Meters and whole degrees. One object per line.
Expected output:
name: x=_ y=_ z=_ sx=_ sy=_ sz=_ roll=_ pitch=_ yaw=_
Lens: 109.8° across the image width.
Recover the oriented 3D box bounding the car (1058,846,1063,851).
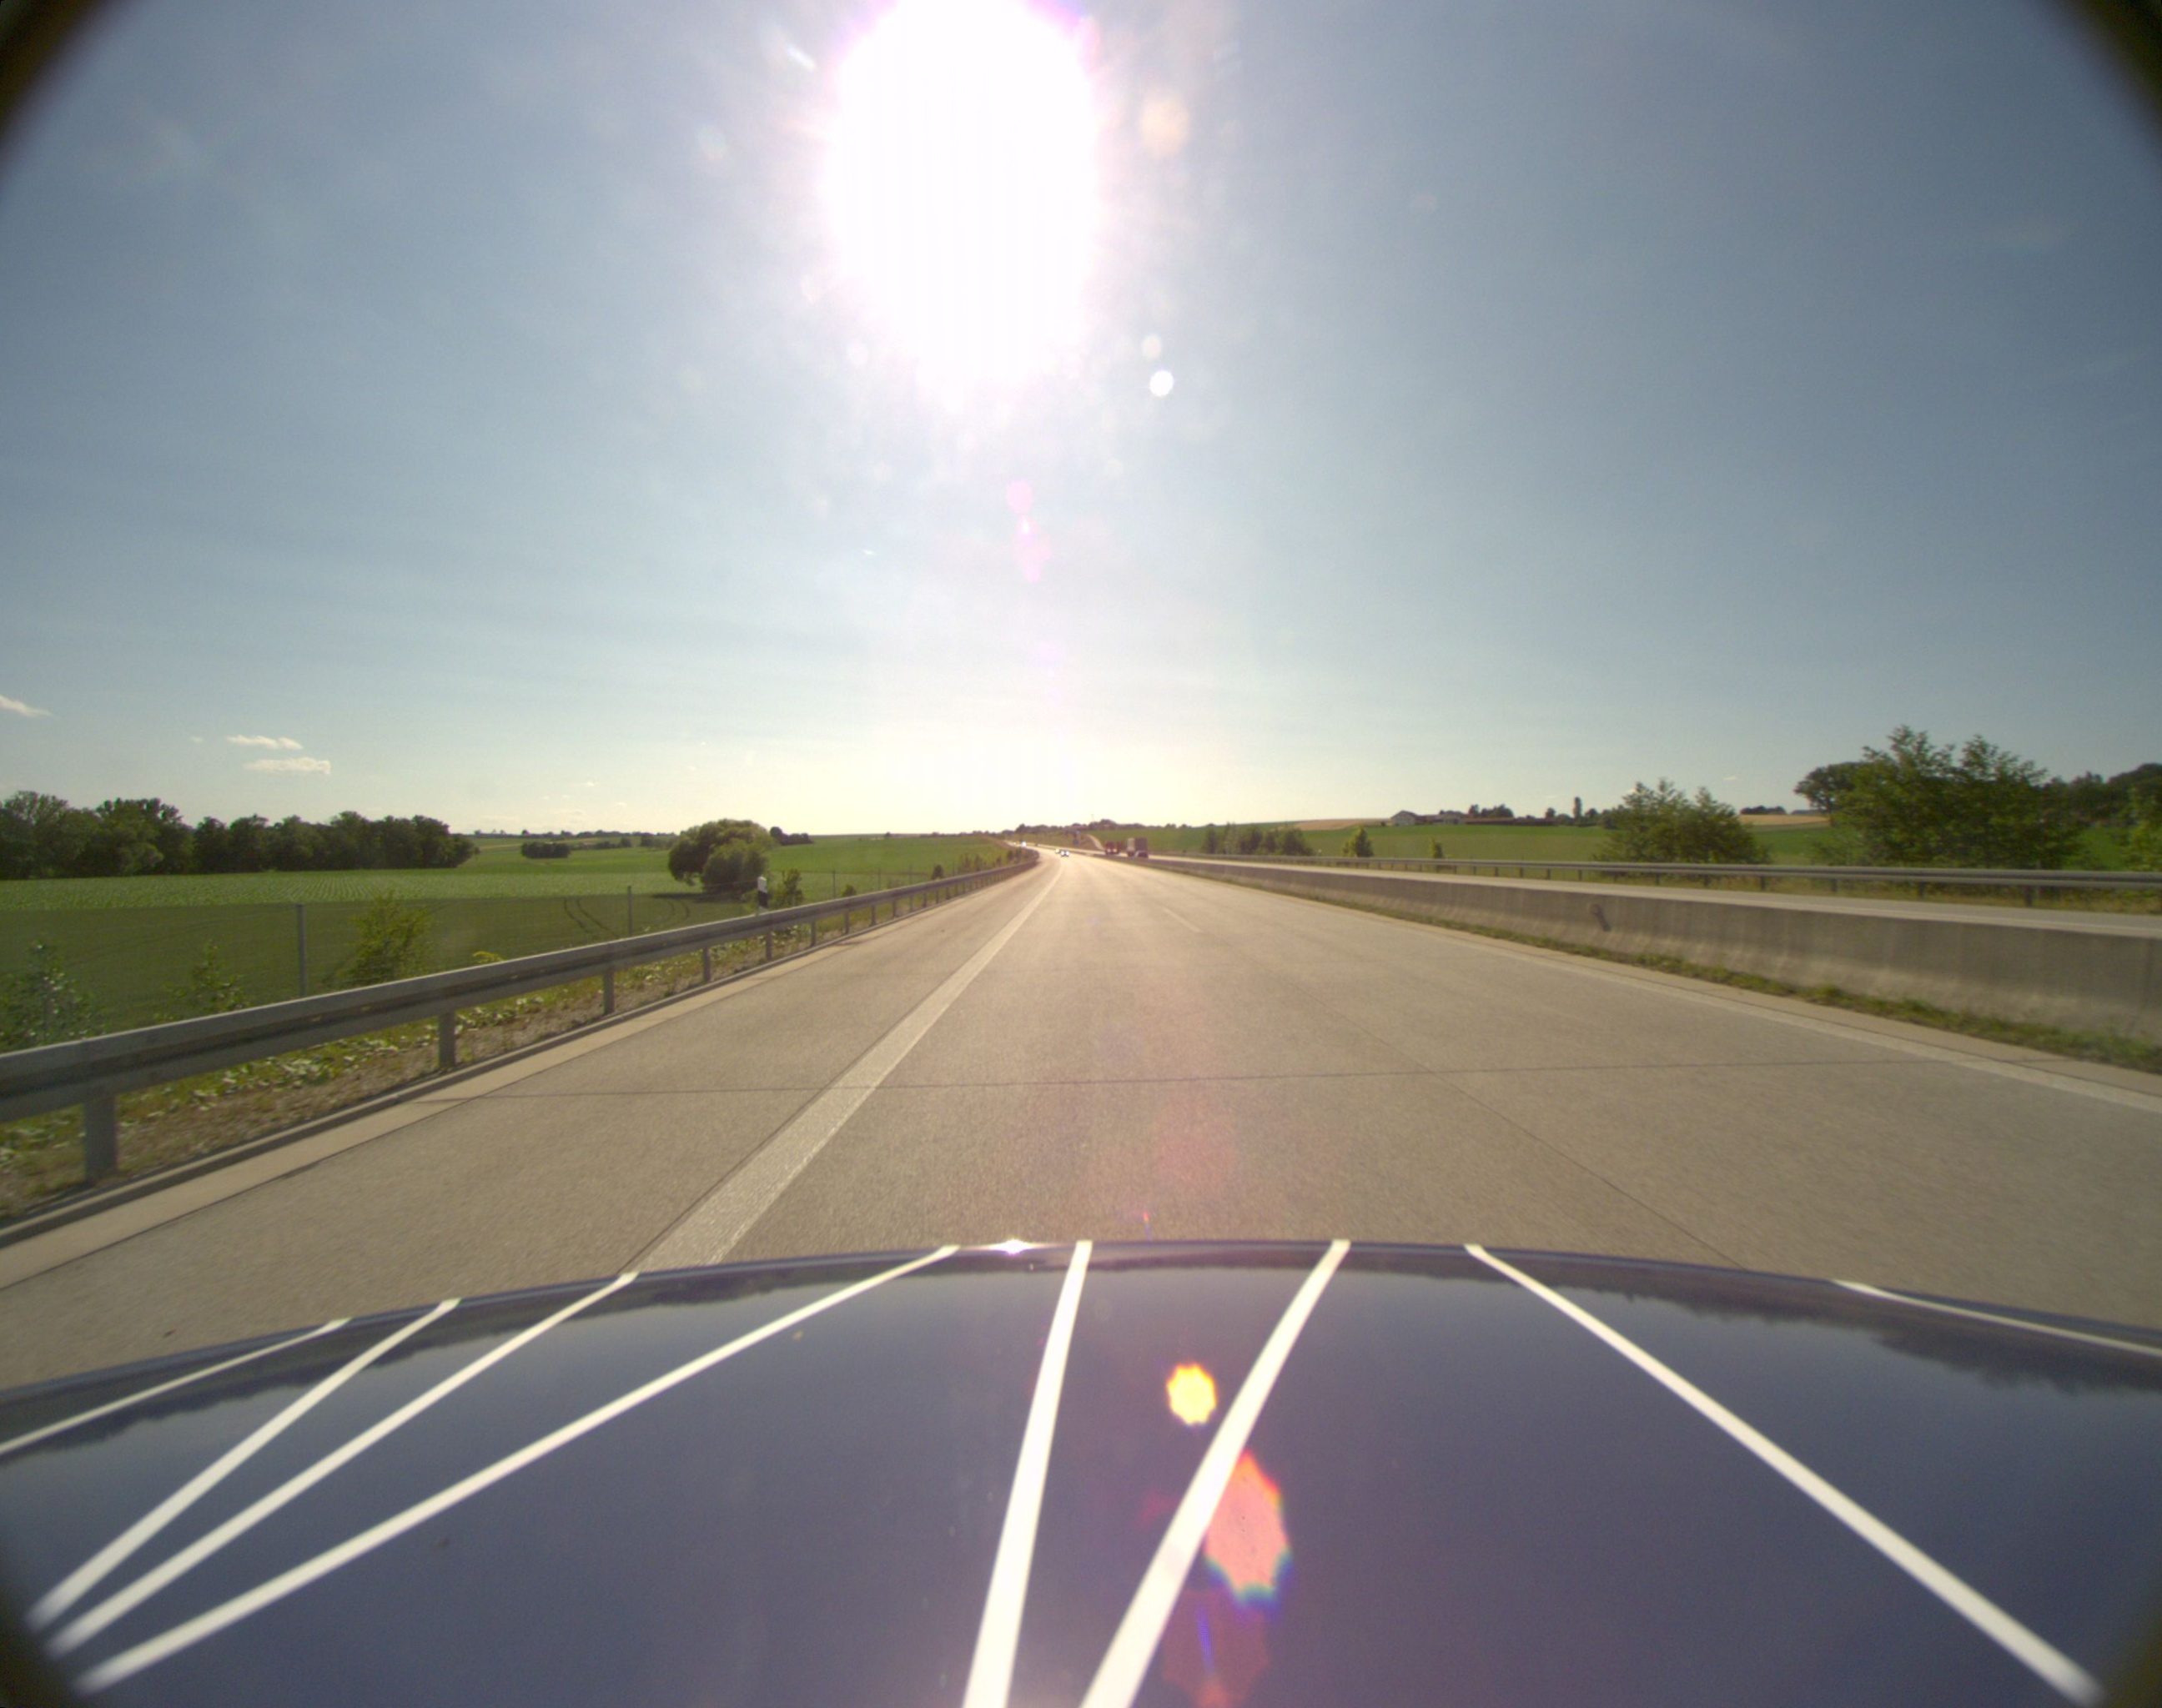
car: x=-7.005 y=-1.893 z=258.196 sx=1.715 sy=1.580 sz=4.625 roll=-2 pitch=1 yaw=-1

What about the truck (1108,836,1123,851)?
truck: x=9.885 y=-3.005 z=218.414 sx=2.875 sy=3.992 sz=17.109 roll=-1 pitch=1 yaw=-2

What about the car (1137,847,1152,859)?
car: x=9.678 y=-0.172 z=116.599 sx=1.715 sy=1.580 sz=4.625 roll=-2 pitch=1 yaw=-1

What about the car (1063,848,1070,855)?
car: x=-3.649 y=-0.627 z=189.119 sx=1.715 sy=1.580 sz=4.625 roll=-2 pitch=1 yaw=-1

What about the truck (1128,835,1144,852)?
truck: x=12.279 y=-2.364 z=169.994 sx=2.869 sy=3.851 sz=5.981 roll=-1 pitch=1 yaw=-1

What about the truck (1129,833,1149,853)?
truck: x=12.429 y=-2.332 z=163.305 sx=2.867 sy=3.985 sz=13.864 roll=-1 pitch=1 yaw=-1
